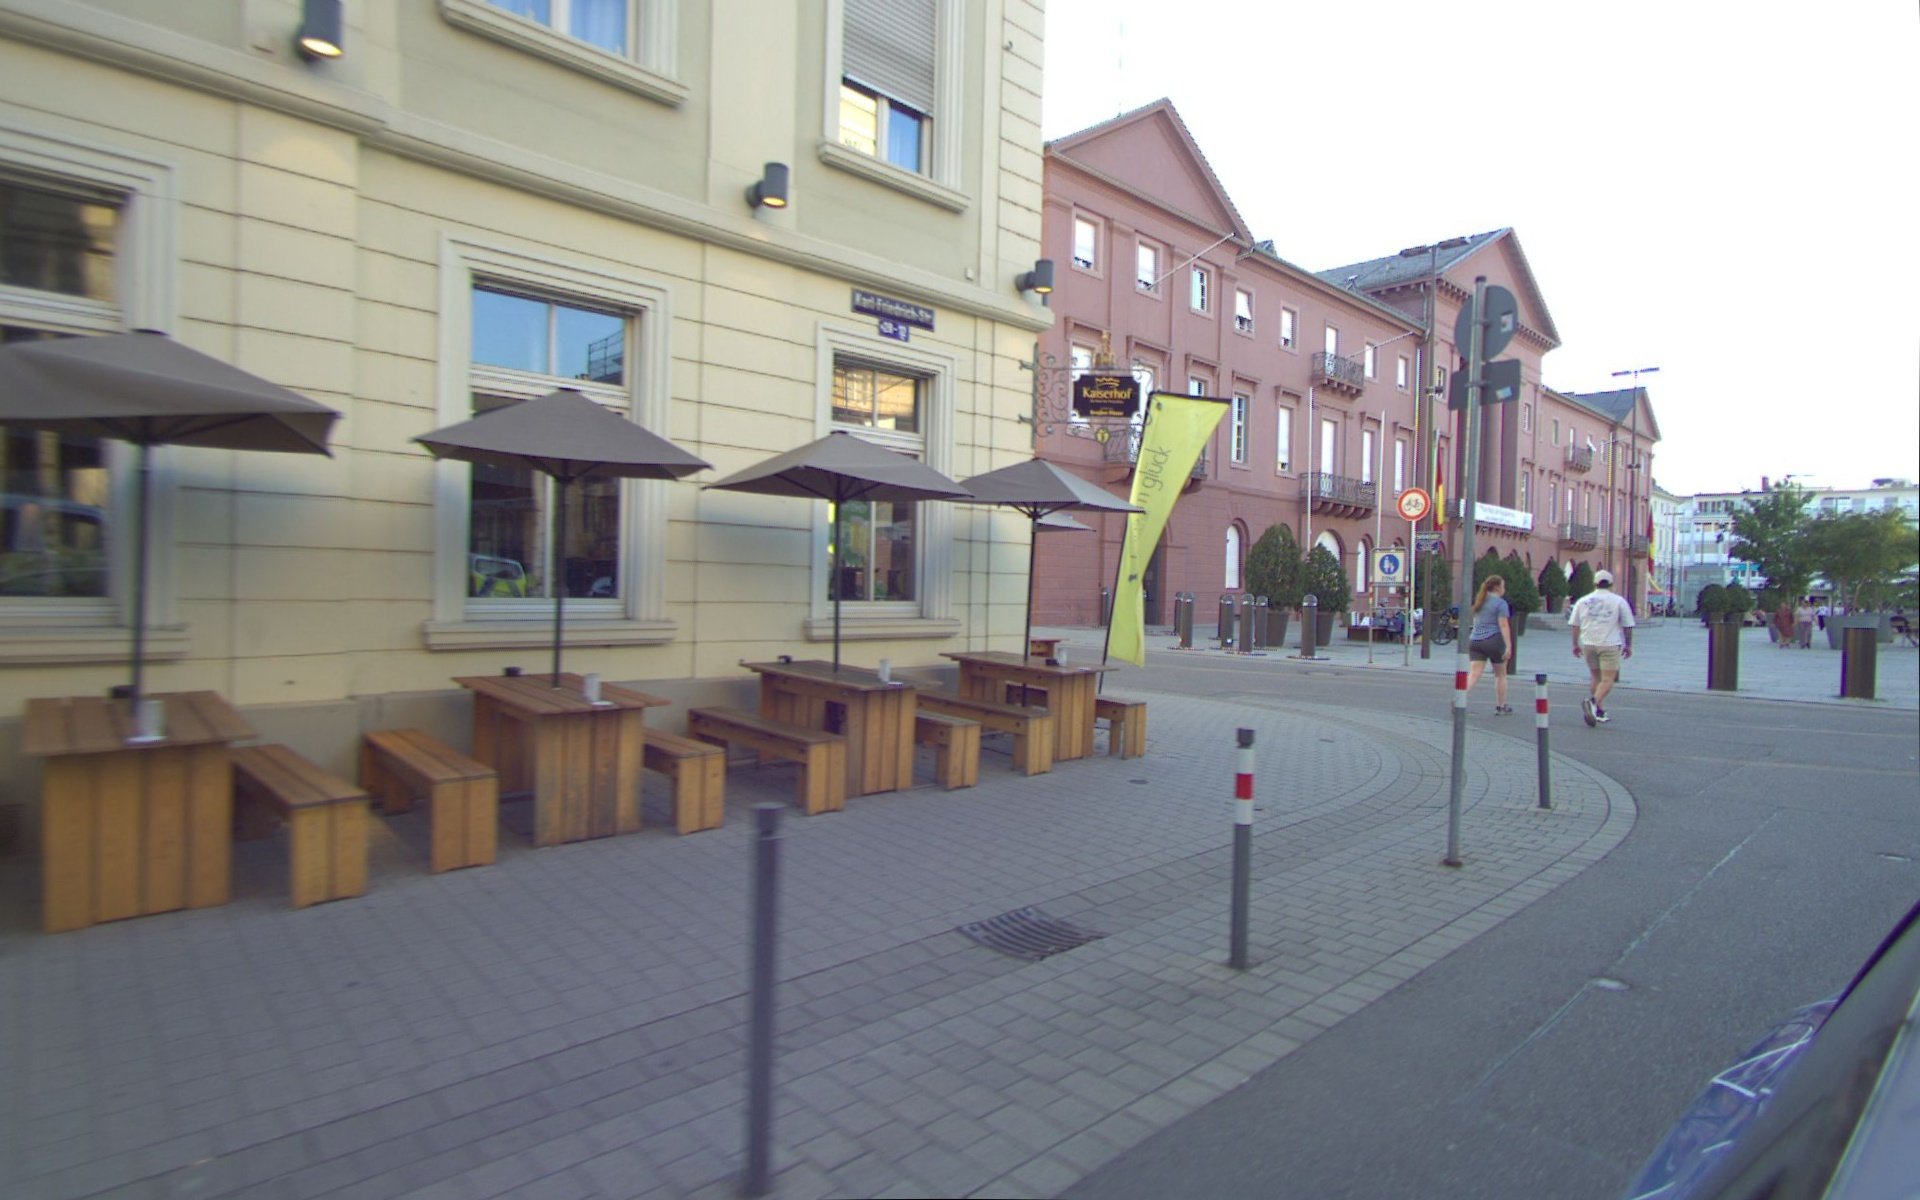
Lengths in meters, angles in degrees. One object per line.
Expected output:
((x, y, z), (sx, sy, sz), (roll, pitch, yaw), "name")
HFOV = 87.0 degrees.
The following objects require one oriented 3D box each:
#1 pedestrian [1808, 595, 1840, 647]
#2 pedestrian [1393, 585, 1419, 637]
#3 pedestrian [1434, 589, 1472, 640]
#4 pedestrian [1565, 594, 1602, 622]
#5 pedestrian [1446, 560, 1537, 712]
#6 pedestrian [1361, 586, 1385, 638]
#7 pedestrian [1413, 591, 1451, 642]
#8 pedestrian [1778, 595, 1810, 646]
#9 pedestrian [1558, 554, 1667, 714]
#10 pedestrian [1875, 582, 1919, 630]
((27.188, 0.650, 31.855), (0.642, 1.578, 0.682), (0, 1, -45), "pedestrian")
((12.976, 0.315, 29.463), (0.576, 1.465, 0.826), (2, 1, 18), "pedestrian")
((14.556, 0.427, 29.882), (0.572, 1.465, 0.832), (1, 1, -12), "pedestrian")
((29.383, 0.367, 47.708), (1.396, 1.278, 1.311), (2, 1, 34), "pedestrian")
((6.311, 0.410, 12.045), (0.704, 1.751, 0.609), (1, 1, 0), "pedestrian")
((12.086, 0.337, 29.632), (0.576, 1.465, 0.826), (2, 1, 18), "pedestrian")
((13.789, 0.477, 29.579), (0.572, 1.465, 0.832), (1, 1, -10), "pedestrian")
((26.672, 0.634, 32.368), (0.642, 1.586, 0.682), (0, 1, -45), "pedestrian")
((7.421, 0.370, 11.545), (0.751, 1.751, 0.669), (1, 1, 0), "pedestrian")
((45.490, 0.257, 48.955), (1.234, 2.263, 1.498), (1, 1, 15), "pedestrian")
